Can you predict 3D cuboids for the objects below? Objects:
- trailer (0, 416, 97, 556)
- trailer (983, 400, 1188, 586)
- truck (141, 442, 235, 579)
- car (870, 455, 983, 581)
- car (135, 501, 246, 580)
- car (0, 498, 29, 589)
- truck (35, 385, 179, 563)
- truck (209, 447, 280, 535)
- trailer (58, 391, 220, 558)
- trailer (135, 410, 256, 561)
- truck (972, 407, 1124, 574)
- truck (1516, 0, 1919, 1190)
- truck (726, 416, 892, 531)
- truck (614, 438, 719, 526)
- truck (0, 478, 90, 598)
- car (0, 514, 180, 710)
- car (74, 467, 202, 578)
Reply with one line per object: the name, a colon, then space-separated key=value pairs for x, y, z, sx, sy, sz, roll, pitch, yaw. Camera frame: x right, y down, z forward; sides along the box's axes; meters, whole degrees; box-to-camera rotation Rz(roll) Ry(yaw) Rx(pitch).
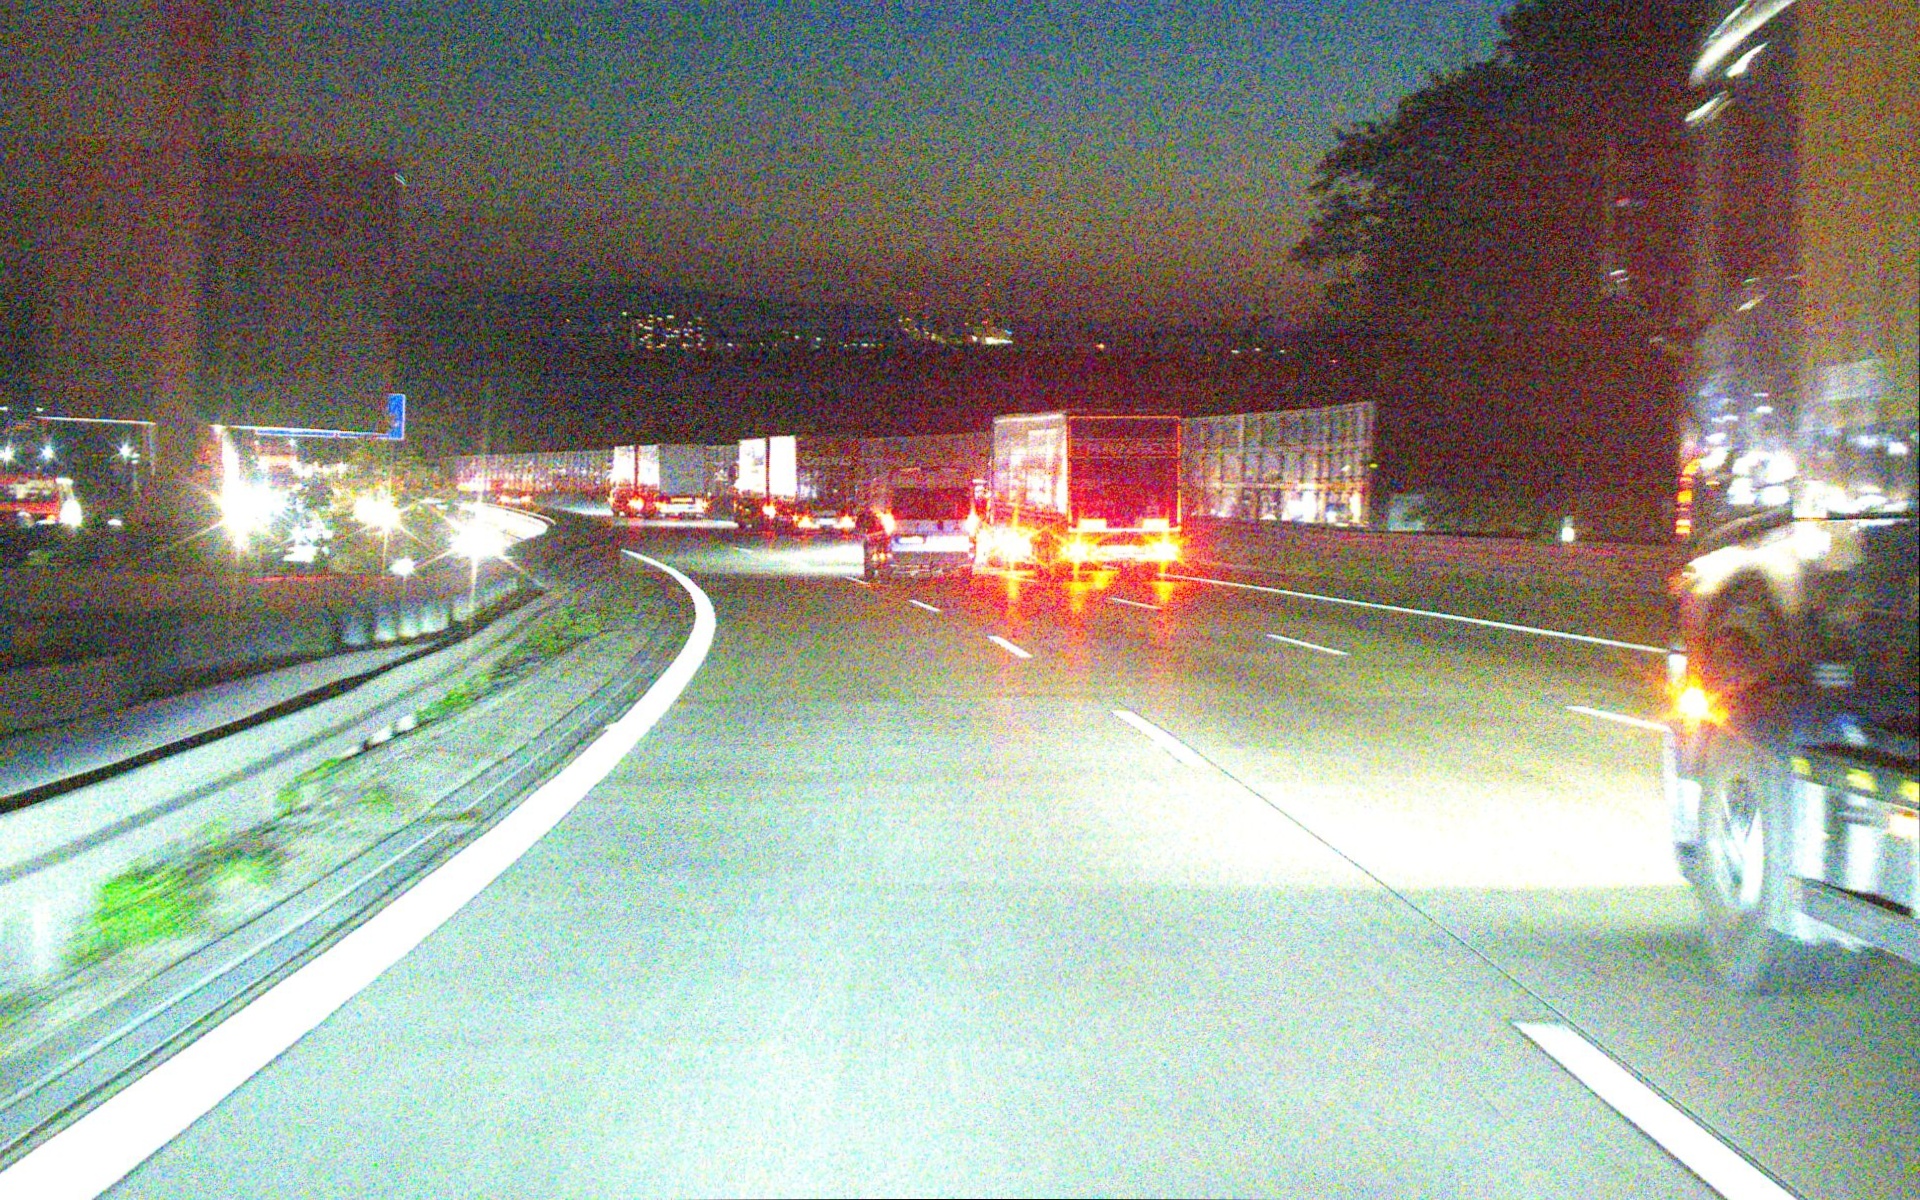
trailer: x=-29.703 y=-3.619 z=109.624 sx=2.839 sy=4.157 sz=13.289 roll=-2 pitch=2 yaw=-9
trailer: x=2.797 y=-2.595 z=81.911 sx=2.853 sy=4.053 sz=13.209 roll=0 pitch=2 yaw=-7
truck: x=-24.666 y=-2.868 z=110.046 sx=2.615 sy=4.254 sz=5.959 roll=0 pitch=2 yaw=-9
car: x=-0.700 y=-1.763 z=75.950 sx=2.337 sy=2.631 sz=5.247 roll=2 pitch=0 yaw=0
car: x=-15.983 y=-1.229 z=71.566 sx=1.897 sy=1.518 sz=4.350 roll=-2 pitch=1 yaw=-9
car: x=-18.765 y=-1.078 z=64.452 sx=1.885 sy=1.671 sz=5.081 roll=0 pitch=2 yaw=-8
truck: x=-20.887 y=-3.086 z=84.454 sx=2.864 sy=4.196 sz=6.108 roll=0 pitch=2 yaw=-9
truck: x=-32.838 y=-5.035 z=157.685 sx=2.827 sy=3.902 sz=4.937 roll=-1 pitch=3 yaw=-15
trailer: x=-22.131 y=-3.434 z=93.357 sx=2.875 sy=4.169 sz=14.528 roll=0 pitch=2 yaw=-8
trailer: x=-25.674 y=-3.870 z=116.016 sx=2.839 sy=4.448 sz=14.528 roll=-8 pitch=3 yaw=-10
truck: x=2.157 y=-2.806 z=87.394 sx=2.861 sy=4.062 sz=7.513 roll=0 pitch=2 yaw=-6
truck: x=4.006 y=-0.596 z=3.682 sx=3.482 sy=4.120 sz=18.711 roll=2 pitch=1 yaw=-1
truck: x=-6.769 y=-5.388 z=148.825 sx=3.914 sy=4.611 sz=21.025 roll=-1 pitch=2 yaw=-11
truck: x=-16.143 y=-6.513 z=188.167 sx=3.343 sy=4.460 sz=13.915 roll=3 pitch=2 yaw=-14
truck: x=-19.646 y=-1.340 z=72.611 sx=1.993 sy=2.449 sz=5.052 roll=0 pitch=2 yaw=-9
car: x=-8.867 y=0.063 z=32.820 sx=1.807 sy=1.735 sz=4.868 roll=0 pitch=1 yaw=-1
car: x=-14.841 y=-1.371 z=62.233 sx=1.676 sy=1.844 sz=4.113 roll=3 pitch=0 yaw=-7
